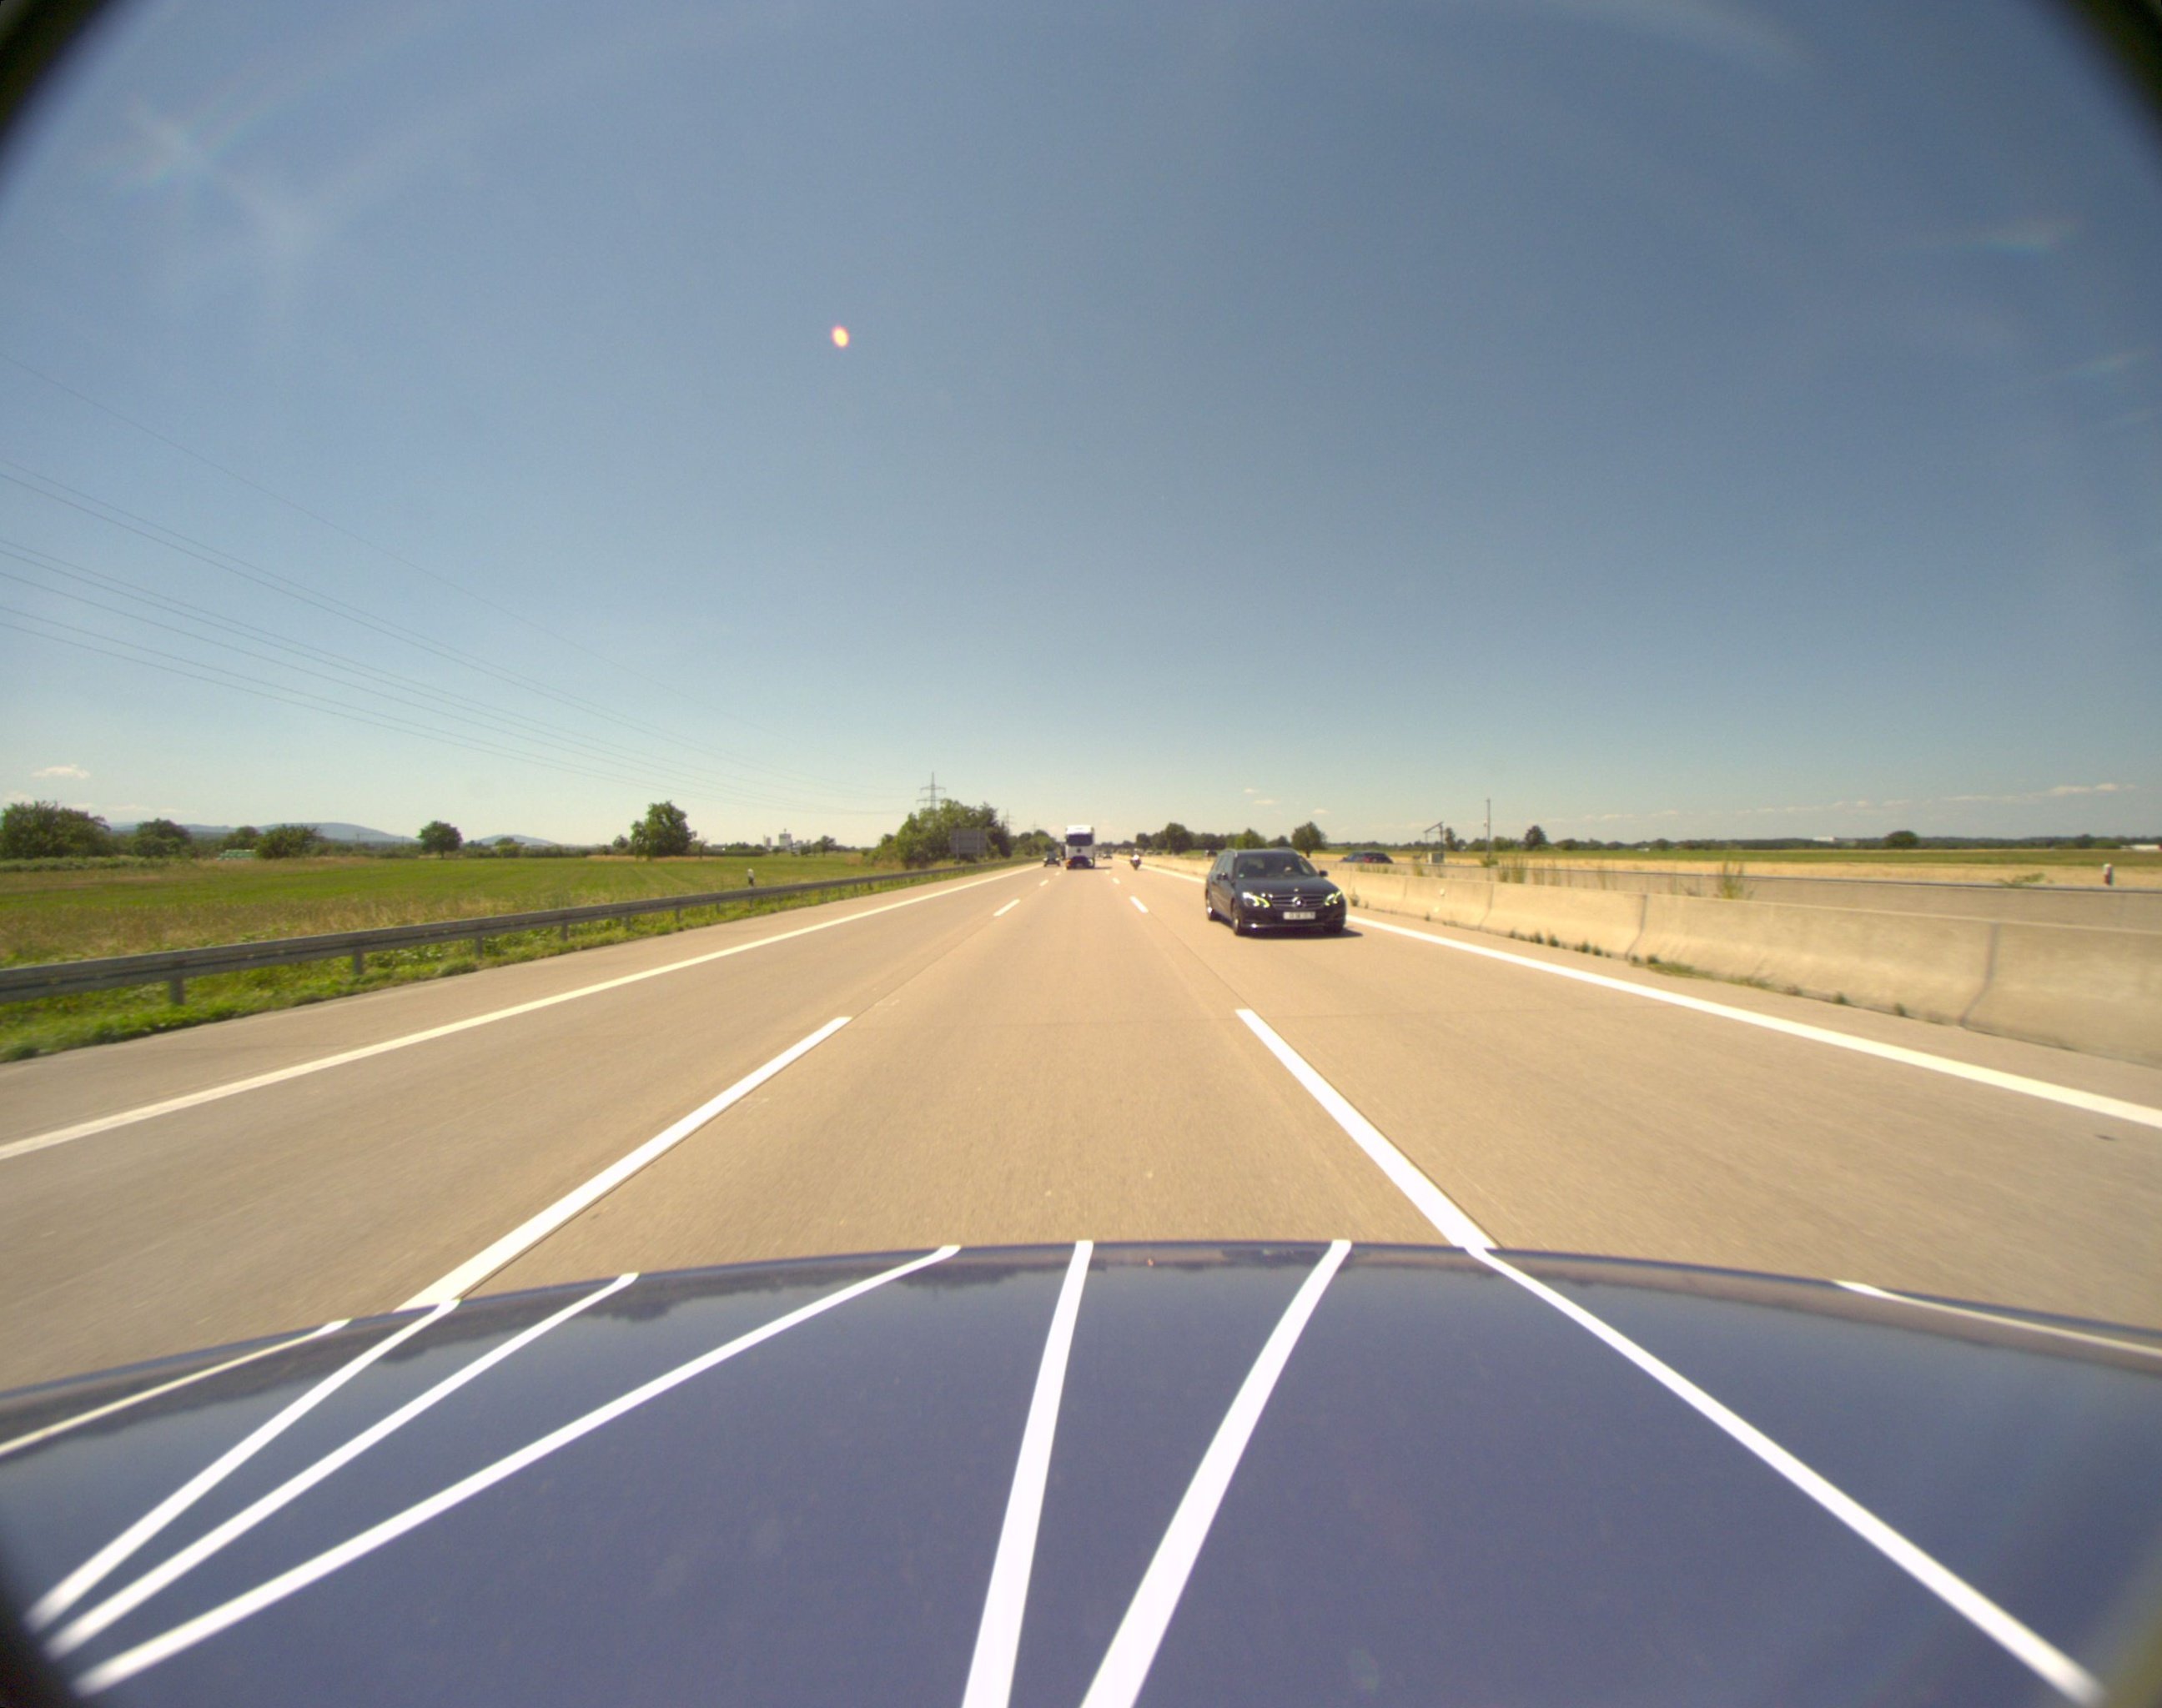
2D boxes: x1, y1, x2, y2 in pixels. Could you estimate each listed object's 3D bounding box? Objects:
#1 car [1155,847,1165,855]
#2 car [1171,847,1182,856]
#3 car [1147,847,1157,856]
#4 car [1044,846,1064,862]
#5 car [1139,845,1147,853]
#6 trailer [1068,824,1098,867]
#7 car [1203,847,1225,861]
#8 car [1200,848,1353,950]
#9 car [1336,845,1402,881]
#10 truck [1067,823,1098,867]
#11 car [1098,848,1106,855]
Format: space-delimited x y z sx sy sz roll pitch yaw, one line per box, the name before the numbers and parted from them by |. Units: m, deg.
car | 19.133 -0.701 183.466 1.998 1.903 4.402 -2 0 2
car | 21.349 -0.579 169.570 1.998 1.772 4.000 -2 0 3
car | 14.749 -0.480 157.919 1.910 1.849 4.000 -2 0 3
car | -3.161 0.001 89.072 1.998 1.772 4.000 -2 0 3
car | 20.332 -1.522 248.590 2.218 2.505 6.124 -2 0 1
trailer | 0.172 -0.807 74.580 2.587 3.855 10.372 -2 0 0
car | 18.466 -0.054 105.372 1.999 1.827 4.815 -2 0 -2
car | 3.449 0.721 14.176 1.848 1.576 3.940 -2 0 1
car | 16.177 0.457 42.910 1.998 1.871 4.692 -2 0 1
truck | 0.162 -0.799 69.498 2.587 3.855 4.983 -2 1 0
car | 5.949 -0.692 216.597 1.999 1.827 4.815 -2 0 -2
